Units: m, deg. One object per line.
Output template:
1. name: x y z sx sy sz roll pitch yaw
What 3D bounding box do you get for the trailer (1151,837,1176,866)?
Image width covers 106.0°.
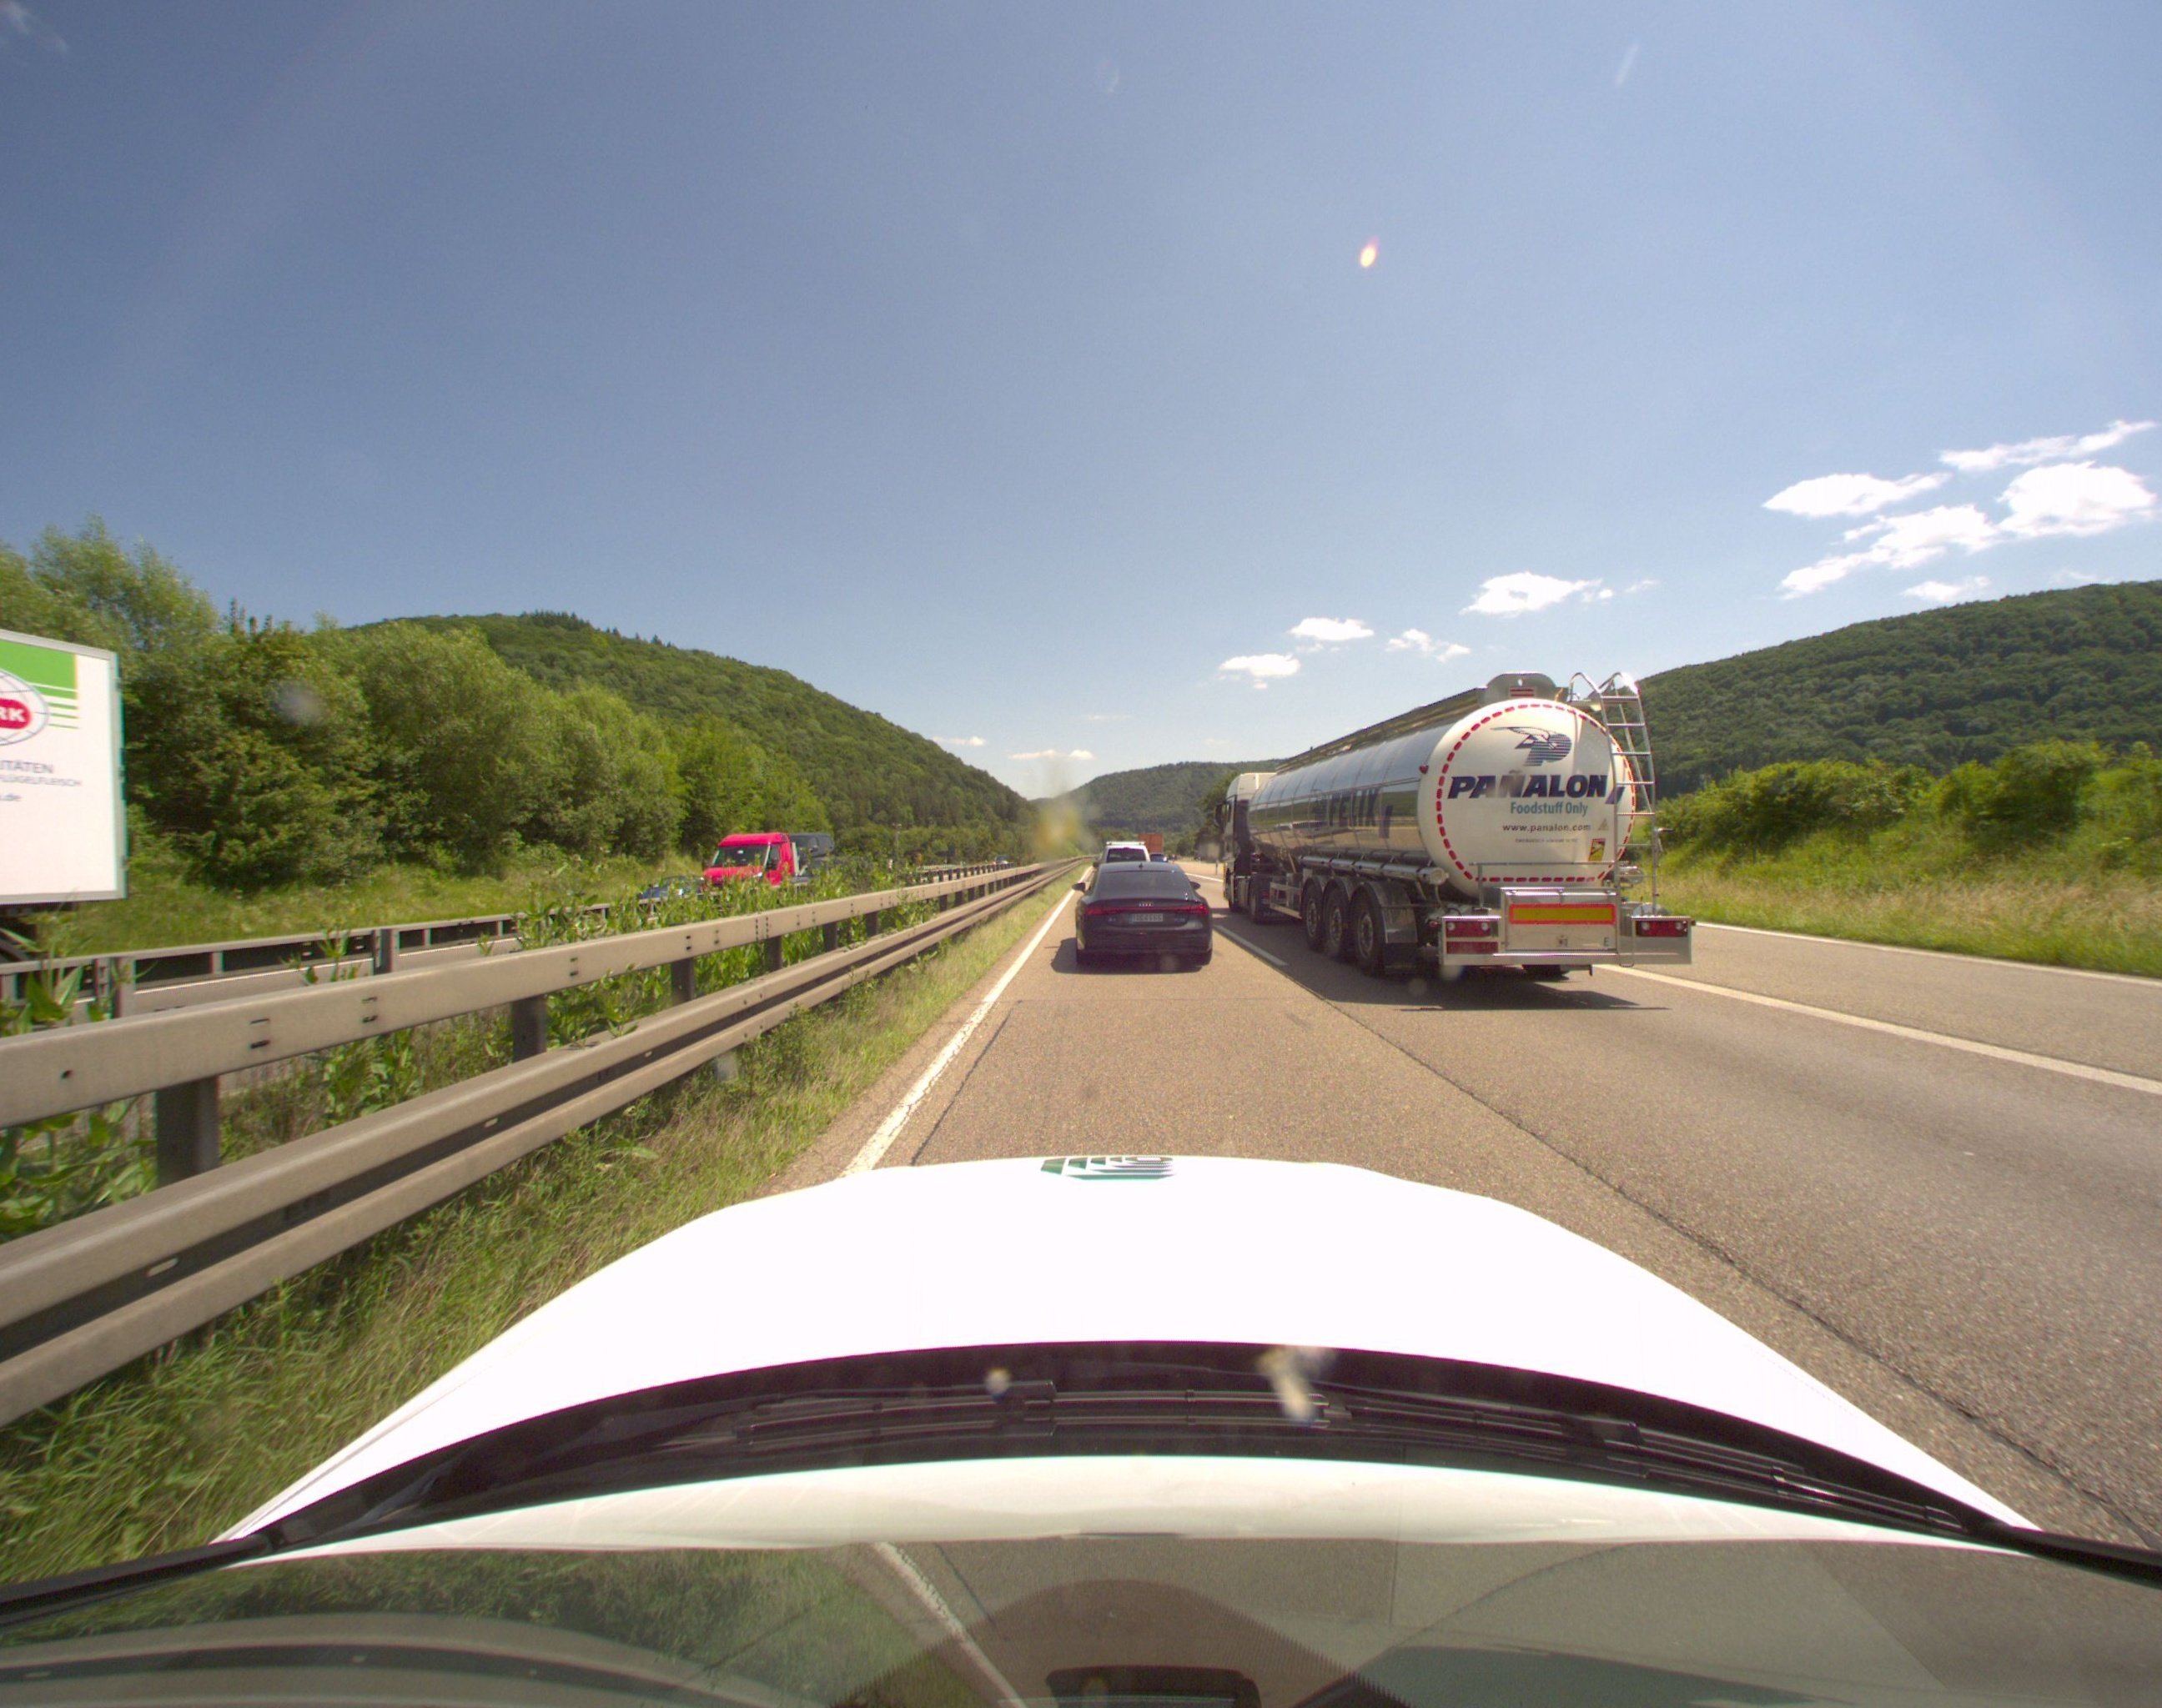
1. trailer: 12.663 -0.391 126.235 3.004 4.382 10.988 -1 0 1

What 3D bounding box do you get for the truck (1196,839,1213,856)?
1. truck: 32.287 -1.662 212.657 3.769 4.414 14.999 -1 0 11

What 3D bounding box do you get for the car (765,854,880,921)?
1. car: -6.878 0.826 22.095 1.771 1.599 4.000 -1 0 1

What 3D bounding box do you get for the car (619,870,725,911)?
1. car: -15.702 1.370 31.538 1.987 1.356 4.107 -1 0 0

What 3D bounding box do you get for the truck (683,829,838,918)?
1. truck: -10.613 0.559 27.948 2.289 2.588 7.963 -1 0 -1

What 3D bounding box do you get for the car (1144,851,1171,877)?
1. car: 6.315 0.815 67.303 1.985 2.002 4.003 -2 0 3

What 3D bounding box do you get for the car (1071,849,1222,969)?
1. car: 0.800 0.694 12.330 1.844 1.488 4.080 -1 0 -2

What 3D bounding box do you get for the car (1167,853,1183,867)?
1. car: 11.105 0.679 96.489 1.740 1.530 4.004 -1 0 3

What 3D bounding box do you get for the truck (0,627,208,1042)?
1. truck: -11.835 -0.136 5.030 2.859 3.980 9.034 -2 0 1

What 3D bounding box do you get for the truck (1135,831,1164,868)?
1. truck: 7.958 -0.517 96.039 2.806 4.003 14.964 -1 0 3

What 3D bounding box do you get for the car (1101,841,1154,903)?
1. car: 1.466 0.532 26.477 1.570 1.833 4.001 -1 0 2

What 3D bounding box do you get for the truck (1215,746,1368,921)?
1. truck: 4.992 -0.450 20.269 2.502 3.758 5.247 -1 0 1

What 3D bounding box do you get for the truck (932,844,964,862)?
1. truck: -20.610 -0.111 126.860 3.569 2.695 8.448 -1 0 0

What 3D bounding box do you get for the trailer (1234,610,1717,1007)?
1. trailer: 4.854 -0.441 13.656 2.529 3.735 11.894 -1 0 1

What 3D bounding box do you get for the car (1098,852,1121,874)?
1. car: 2.639 0.809 75.859 1.986 2.013 4.001 -2 0 1

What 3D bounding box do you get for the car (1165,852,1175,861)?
1. car: 20.469 0.469 186.662 1.986 2.013 4.002 -1 0 2

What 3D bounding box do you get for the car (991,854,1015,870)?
1. car: -8.341 0.881 87.391 1.915 1.621 4.563 -1 0 2

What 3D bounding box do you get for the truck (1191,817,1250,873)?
1. truck: 11.049 -0.664 66.130 2.806 4.003 14.964 -1 0 3
